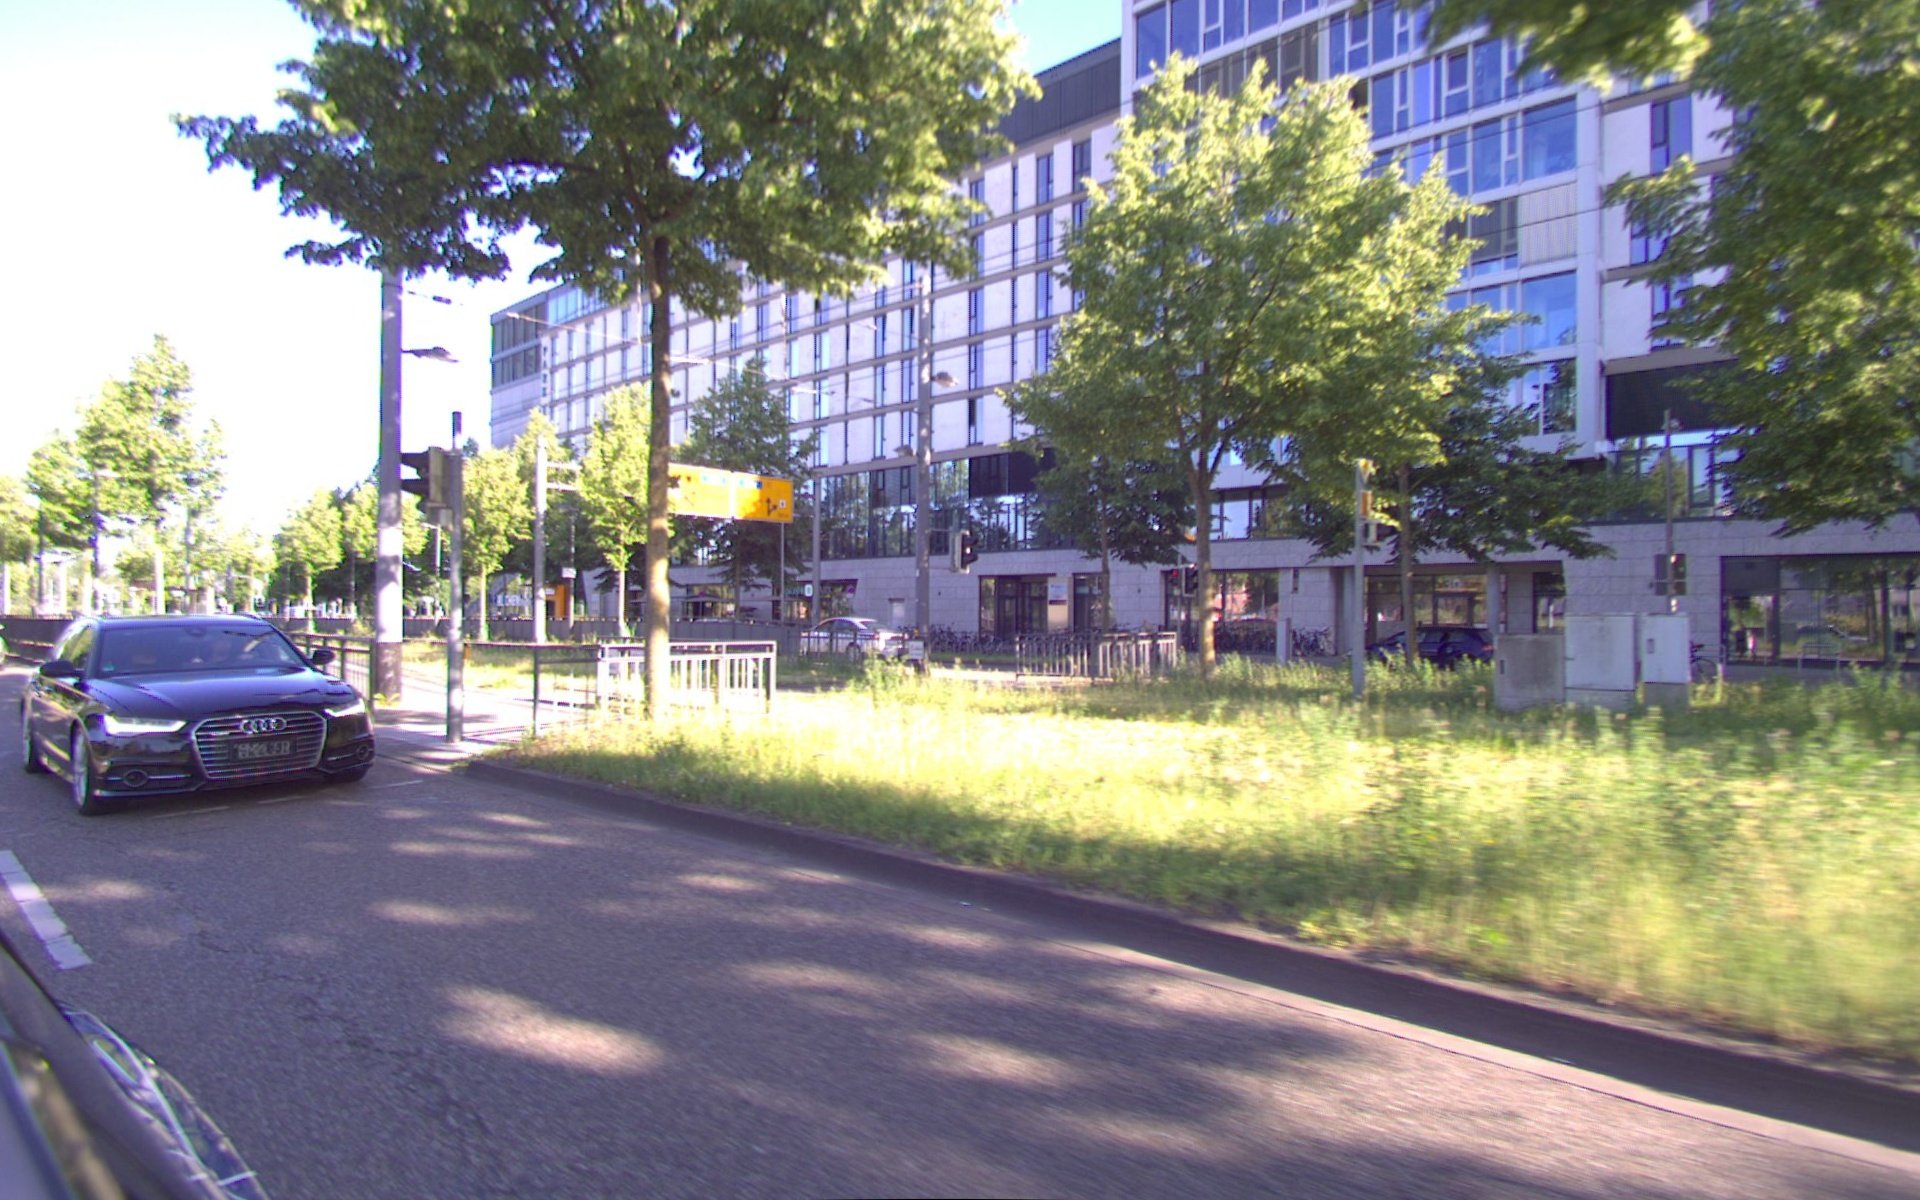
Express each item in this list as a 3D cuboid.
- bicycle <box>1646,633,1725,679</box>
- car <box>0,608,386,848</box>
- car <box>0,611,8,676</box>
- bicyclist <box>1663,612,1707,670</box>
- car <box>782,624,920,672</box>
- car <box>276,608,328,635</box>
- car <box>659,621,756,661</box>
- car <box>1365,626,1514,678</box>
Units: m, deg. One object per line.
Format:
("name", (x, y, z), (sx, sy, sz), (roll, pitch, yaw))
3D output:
("bicycle", (18.811, 1.423, 26.250), (1.571, 1.128, 0.724), (-1, -1, 44))
("car", (-6.810, 0.858, 8.748), (4.598, 1.538, 1.766), (-1, 0, 40))
("car", (-25.485, 1.060, 25.430), (4.526, 1.581, 1.825), (-1, -2, 41))
("bicyclist", (18.812, 1.053, 26.263), (0.832, 1.474, 0.712), (-1, -1, 43))
("car", (-3.496, 1.466, 31.953), (4.507, 1.414, 1.799), (-1, -2, 41))
("car", (-45.435, 1.483, 69.840), (4.226, 1.763, 1.972), (-1, -2, 41))
("car", (-10.458, 1.660, 41.797), (4.332, 1.414, 1.742), (1, 0, 41))
("car", (13.401, 1.414, 28.381), (3.464, 1.244, 1.633), (1, 0, 41))
